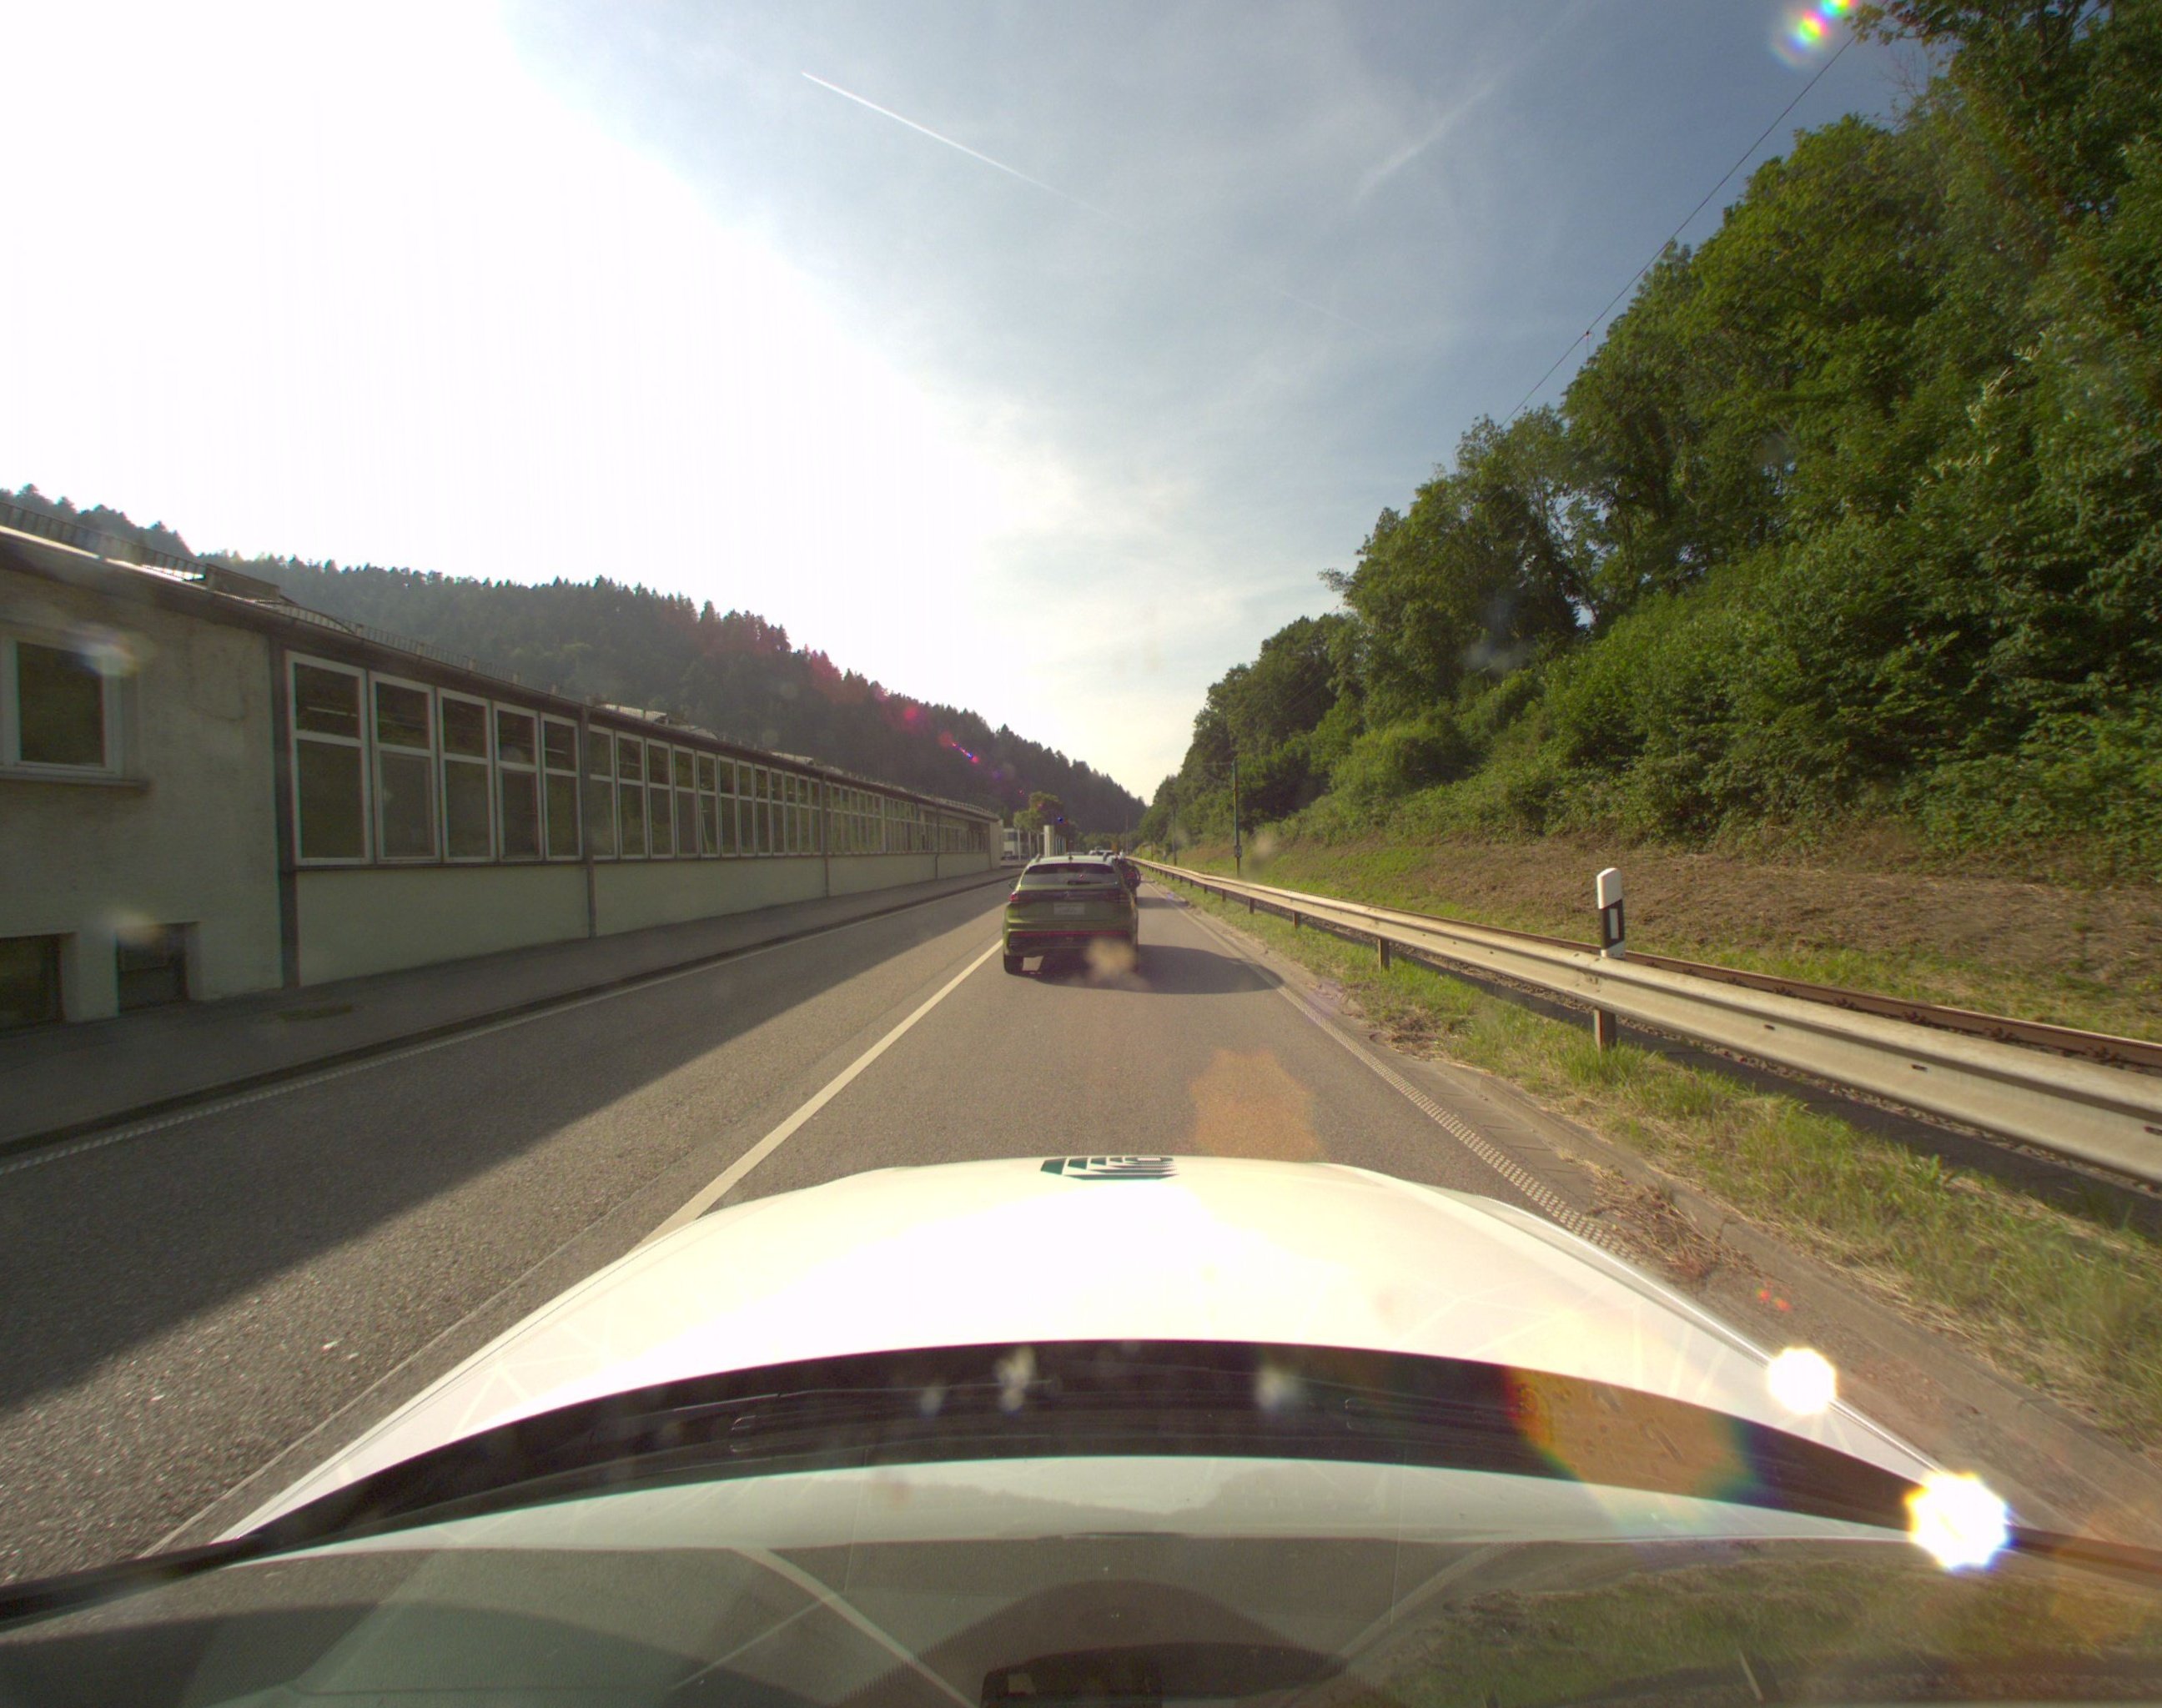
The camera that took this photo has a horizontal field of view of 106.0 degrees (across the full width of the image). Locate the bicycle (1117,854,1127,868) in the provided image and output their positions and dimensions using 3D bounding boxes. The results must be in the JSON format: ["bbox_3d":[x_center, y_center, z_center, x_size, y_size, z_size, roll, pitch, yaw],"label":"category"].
[{"bbox_3d":[3.935,0.656,77.640,0.809,1.250,2.122,-2,0,0],"label":"bicycle"}]

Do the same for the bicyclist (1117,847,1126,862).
[{"bbox_3d":[3.903,0.082,77.619,0.779,1.412,0.675,-2,0,-1],"label":"bicyclist"}]

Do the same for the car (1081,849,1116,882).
[{"bbox_3d":[0.919,0.574,43.153,1.733,1.602,4.000,-1,0,1],"label":"car"}]

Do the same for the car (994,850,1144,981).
[{"bbox_3d":[-0.116,0.715,11.591,1.733,1.508,4.000,-1,0,1],"label":"car"}]

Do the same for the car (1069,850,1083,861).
[{"bbox_3d":[-0.648,0.201,107.651,1.767,1.490,4.053,0,0,1],"label":"car"}]

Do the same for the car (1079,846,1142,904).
[{"bbox_3d":[0.853,0.574,24.715,1.733,1.602,4.000,-1,0,1],"label":"car"}]

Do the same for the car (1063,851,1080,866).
[{"bbox_3d":[-1.067,0.487,89.485,1.713,1.514,4.200,0,0,1],"label":"car"}]
